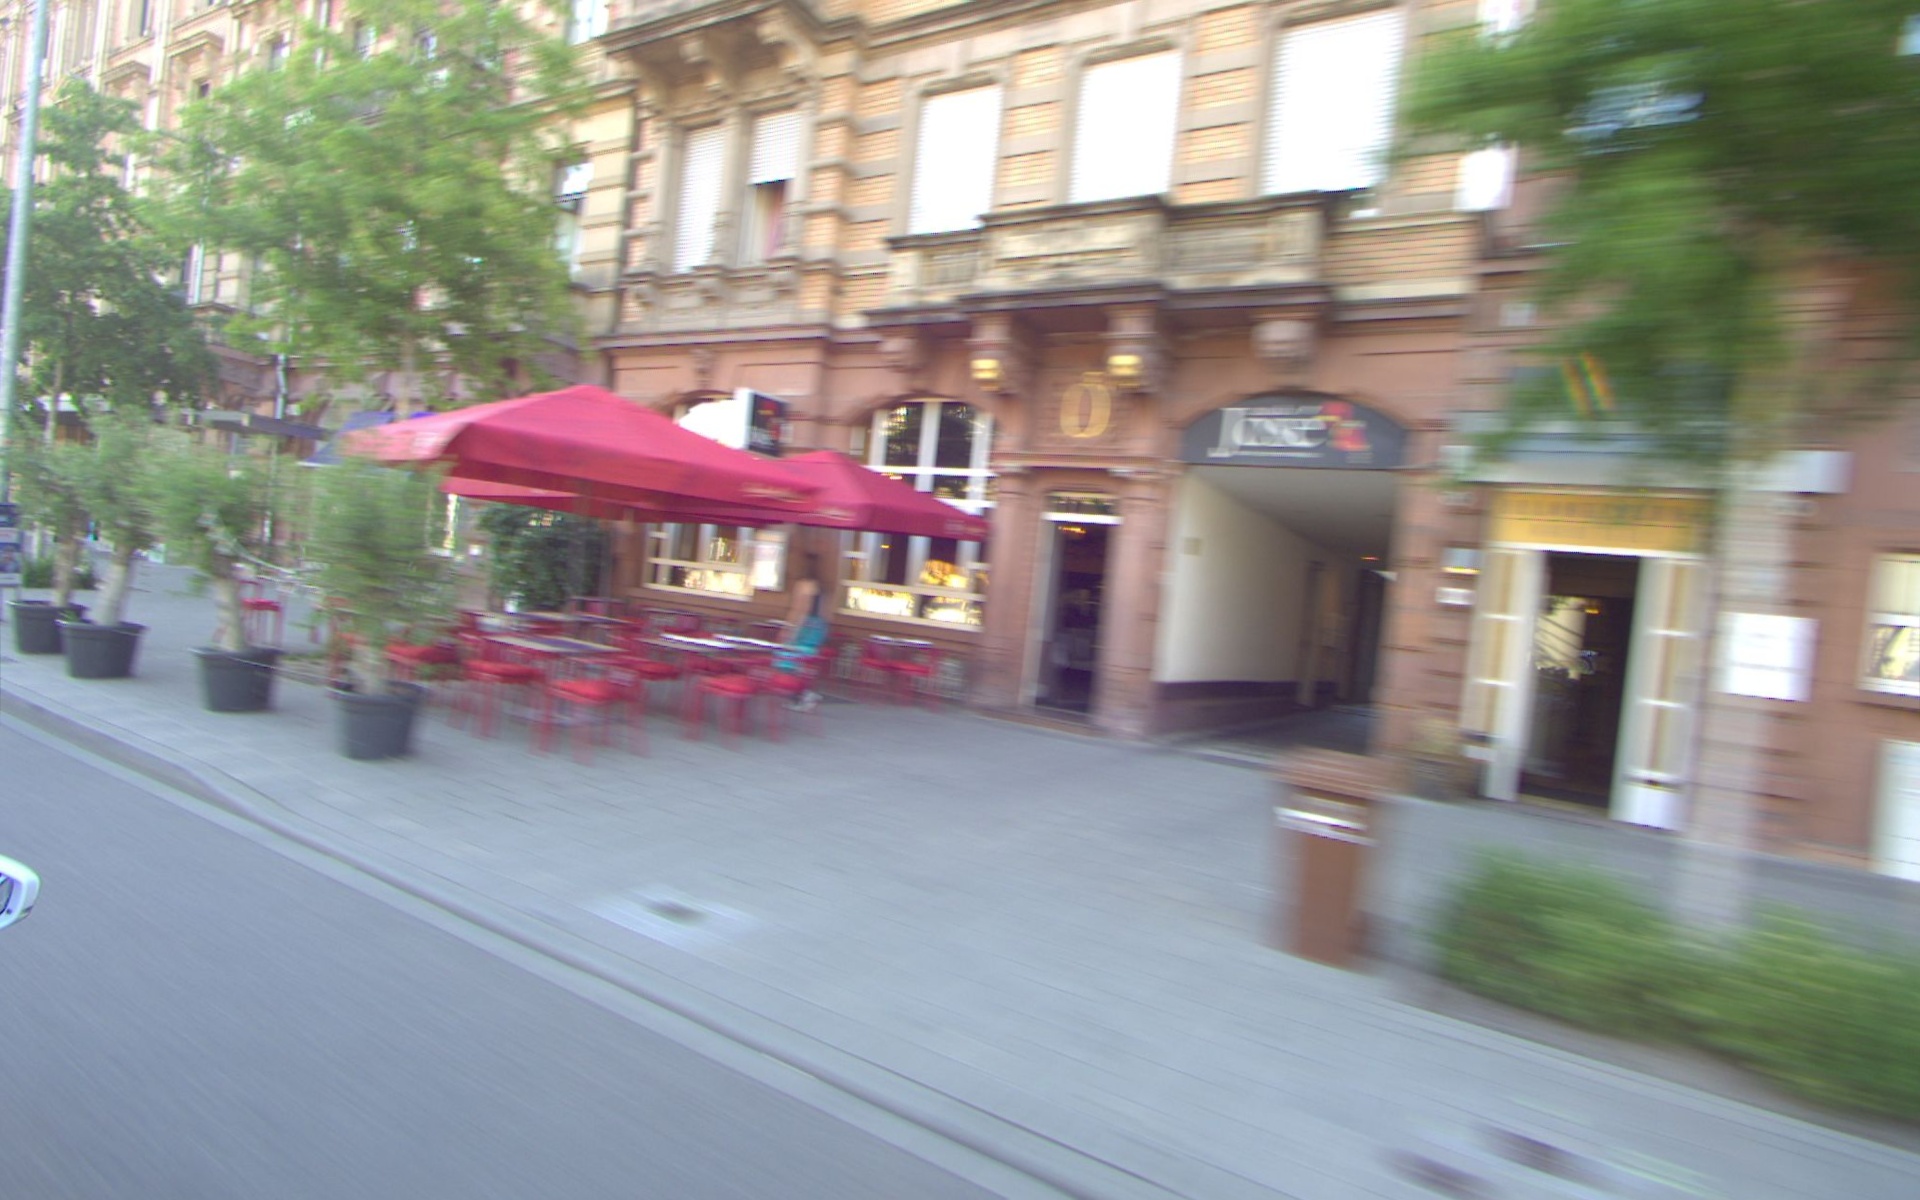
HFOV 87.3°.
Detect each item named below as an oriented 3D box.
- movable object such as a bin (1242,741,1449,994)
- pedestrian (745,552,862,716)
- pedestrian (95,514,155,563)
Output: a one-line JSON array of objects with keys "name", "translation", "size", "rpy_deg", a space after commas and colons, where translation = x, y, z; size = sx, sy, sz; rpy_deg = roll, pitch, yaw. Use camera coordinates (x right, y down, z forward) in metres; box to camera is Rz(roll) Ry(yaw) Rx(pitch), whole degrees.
[{"name": "movable object such as a bin", "translation": [1.760, 1.171, 4.600], "size": [0.671, 0.937, 0.554], "rpy_deg": [2, 3, -38]}, {"name": "pedestrian", "translation": [-1.603, 0.336, 10.319], "size": [0.783, 1.554, 0.728], "rpy_deg": [7, 3, 31]}, {"name": "pedestrian", "translation": [-19.204, -1.407, 23.135], "size": [0.791, 0.975, 0.814], "rpy_deg": [7, 1, 33]}]
